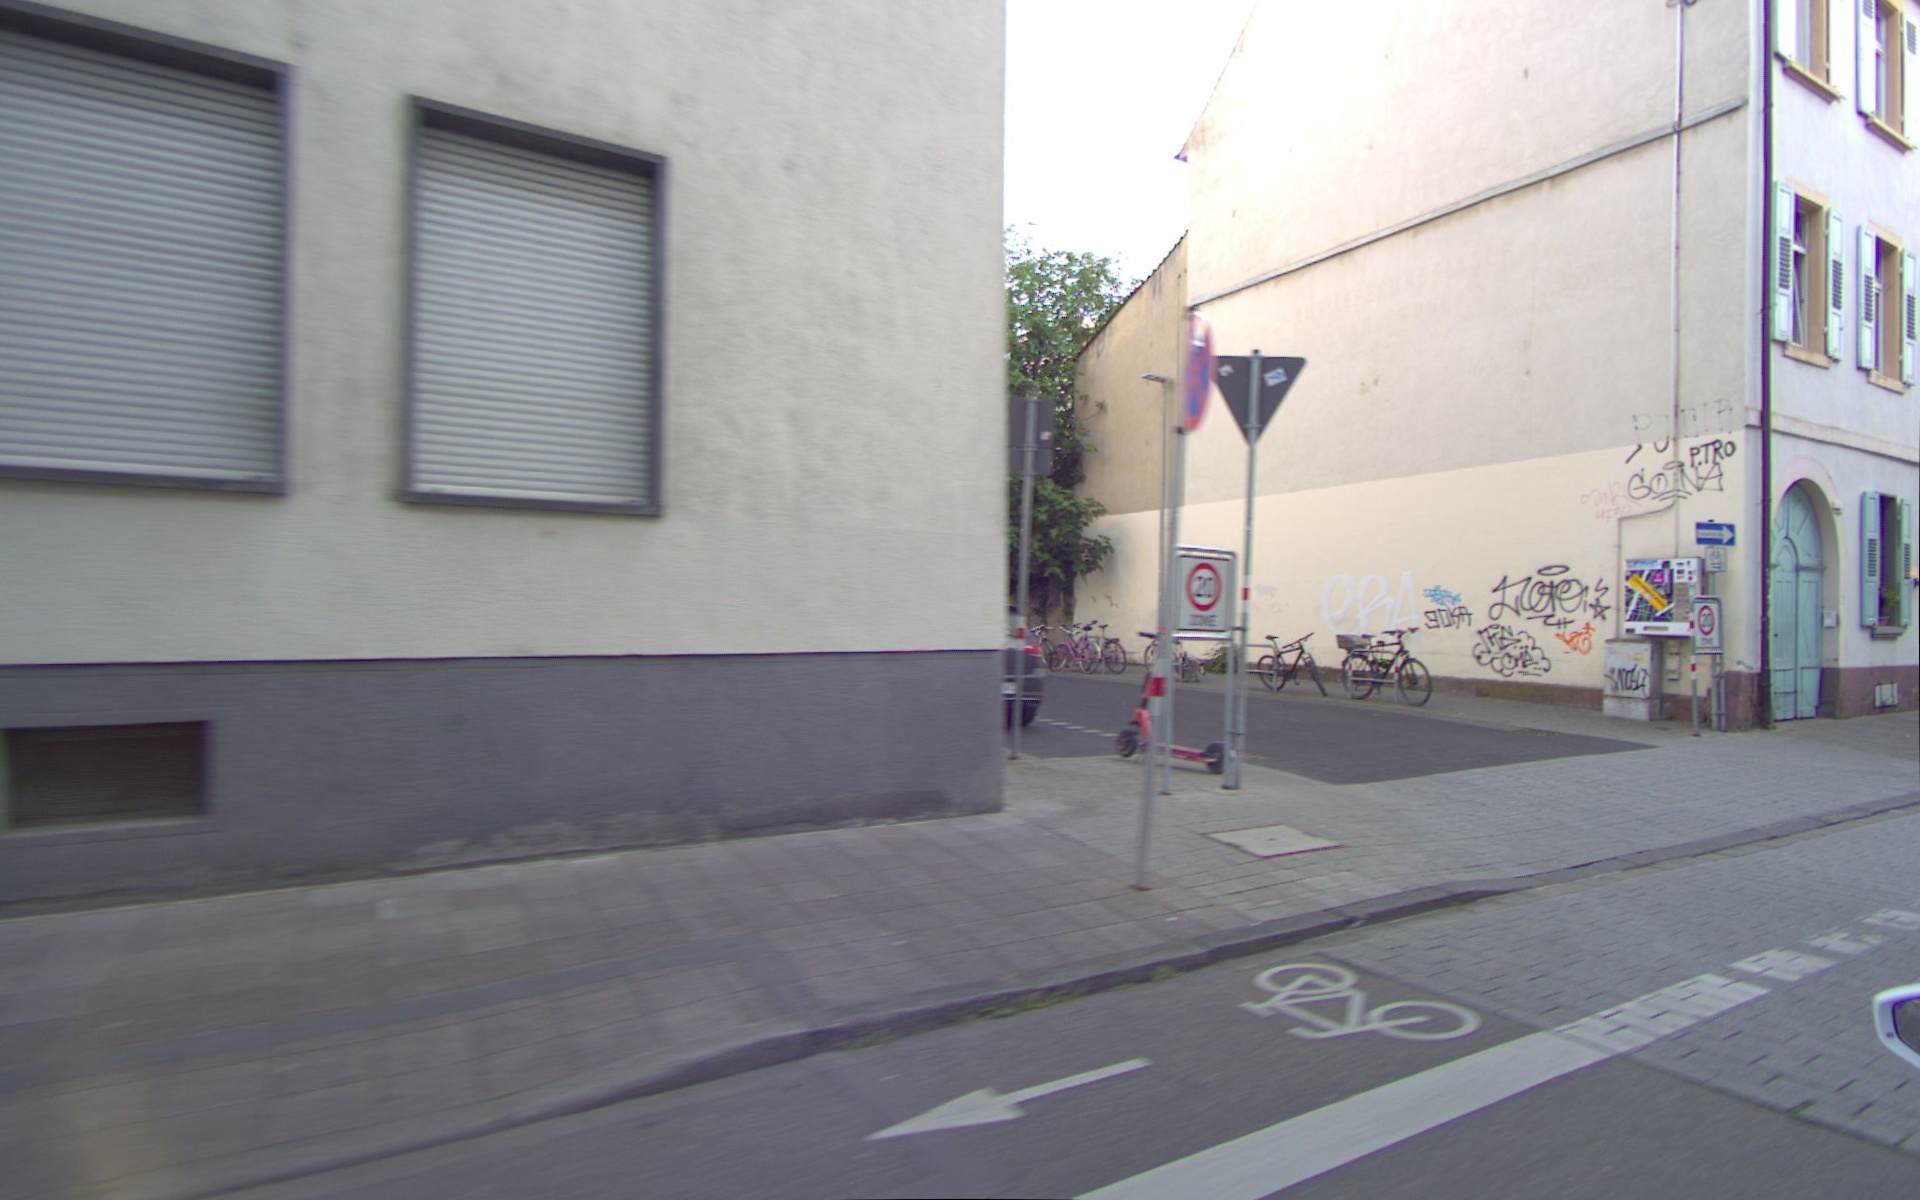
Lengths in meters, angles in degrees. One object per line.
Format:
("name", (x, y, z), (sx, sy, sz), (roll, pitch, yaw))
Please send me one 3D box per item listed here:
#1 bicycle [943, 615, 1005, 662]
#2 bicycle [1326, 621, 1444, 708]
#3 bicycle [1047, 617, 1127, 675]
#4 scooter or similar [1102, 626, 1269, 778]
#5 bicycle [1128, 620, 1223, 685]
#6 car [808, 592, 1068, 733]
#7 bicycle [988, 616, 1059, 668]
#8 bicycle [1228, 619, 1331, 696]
("bicycle", (0.348, 0.983, 26.211), (0.621, 1.171, 1.914), (1, 0, -34))
("bicycle", (6.583, 0.969, 15.659), (0.617, 1.233, 1.926), (1, 0, -16))
("bicycle", (2.748, 0.988, 21.985), (0.621, 1.171, 1.914), (1, 0, -34))
("scooter or similar", (2.057, 0.896, 9.246), (1.343, 1.217, 0.531), (4, 2, 36))
("bicycle", (4.198, 0.993, 19.667), (0.621, 1.171, 1.914), (1, 0, -34))
("car", (-0.451, 0.650, 12.534), (1.706, 1.459, 3.943), (1, 0, -27))
("bicycle", (1.489, 0.983, 23.955), (0.621, 1.171, 1.914), (1, 0, -34))
("bicycle", (5.507, 0.966, 17.455), (0.618, 1.233, 1.923), (1, 0, -22))
